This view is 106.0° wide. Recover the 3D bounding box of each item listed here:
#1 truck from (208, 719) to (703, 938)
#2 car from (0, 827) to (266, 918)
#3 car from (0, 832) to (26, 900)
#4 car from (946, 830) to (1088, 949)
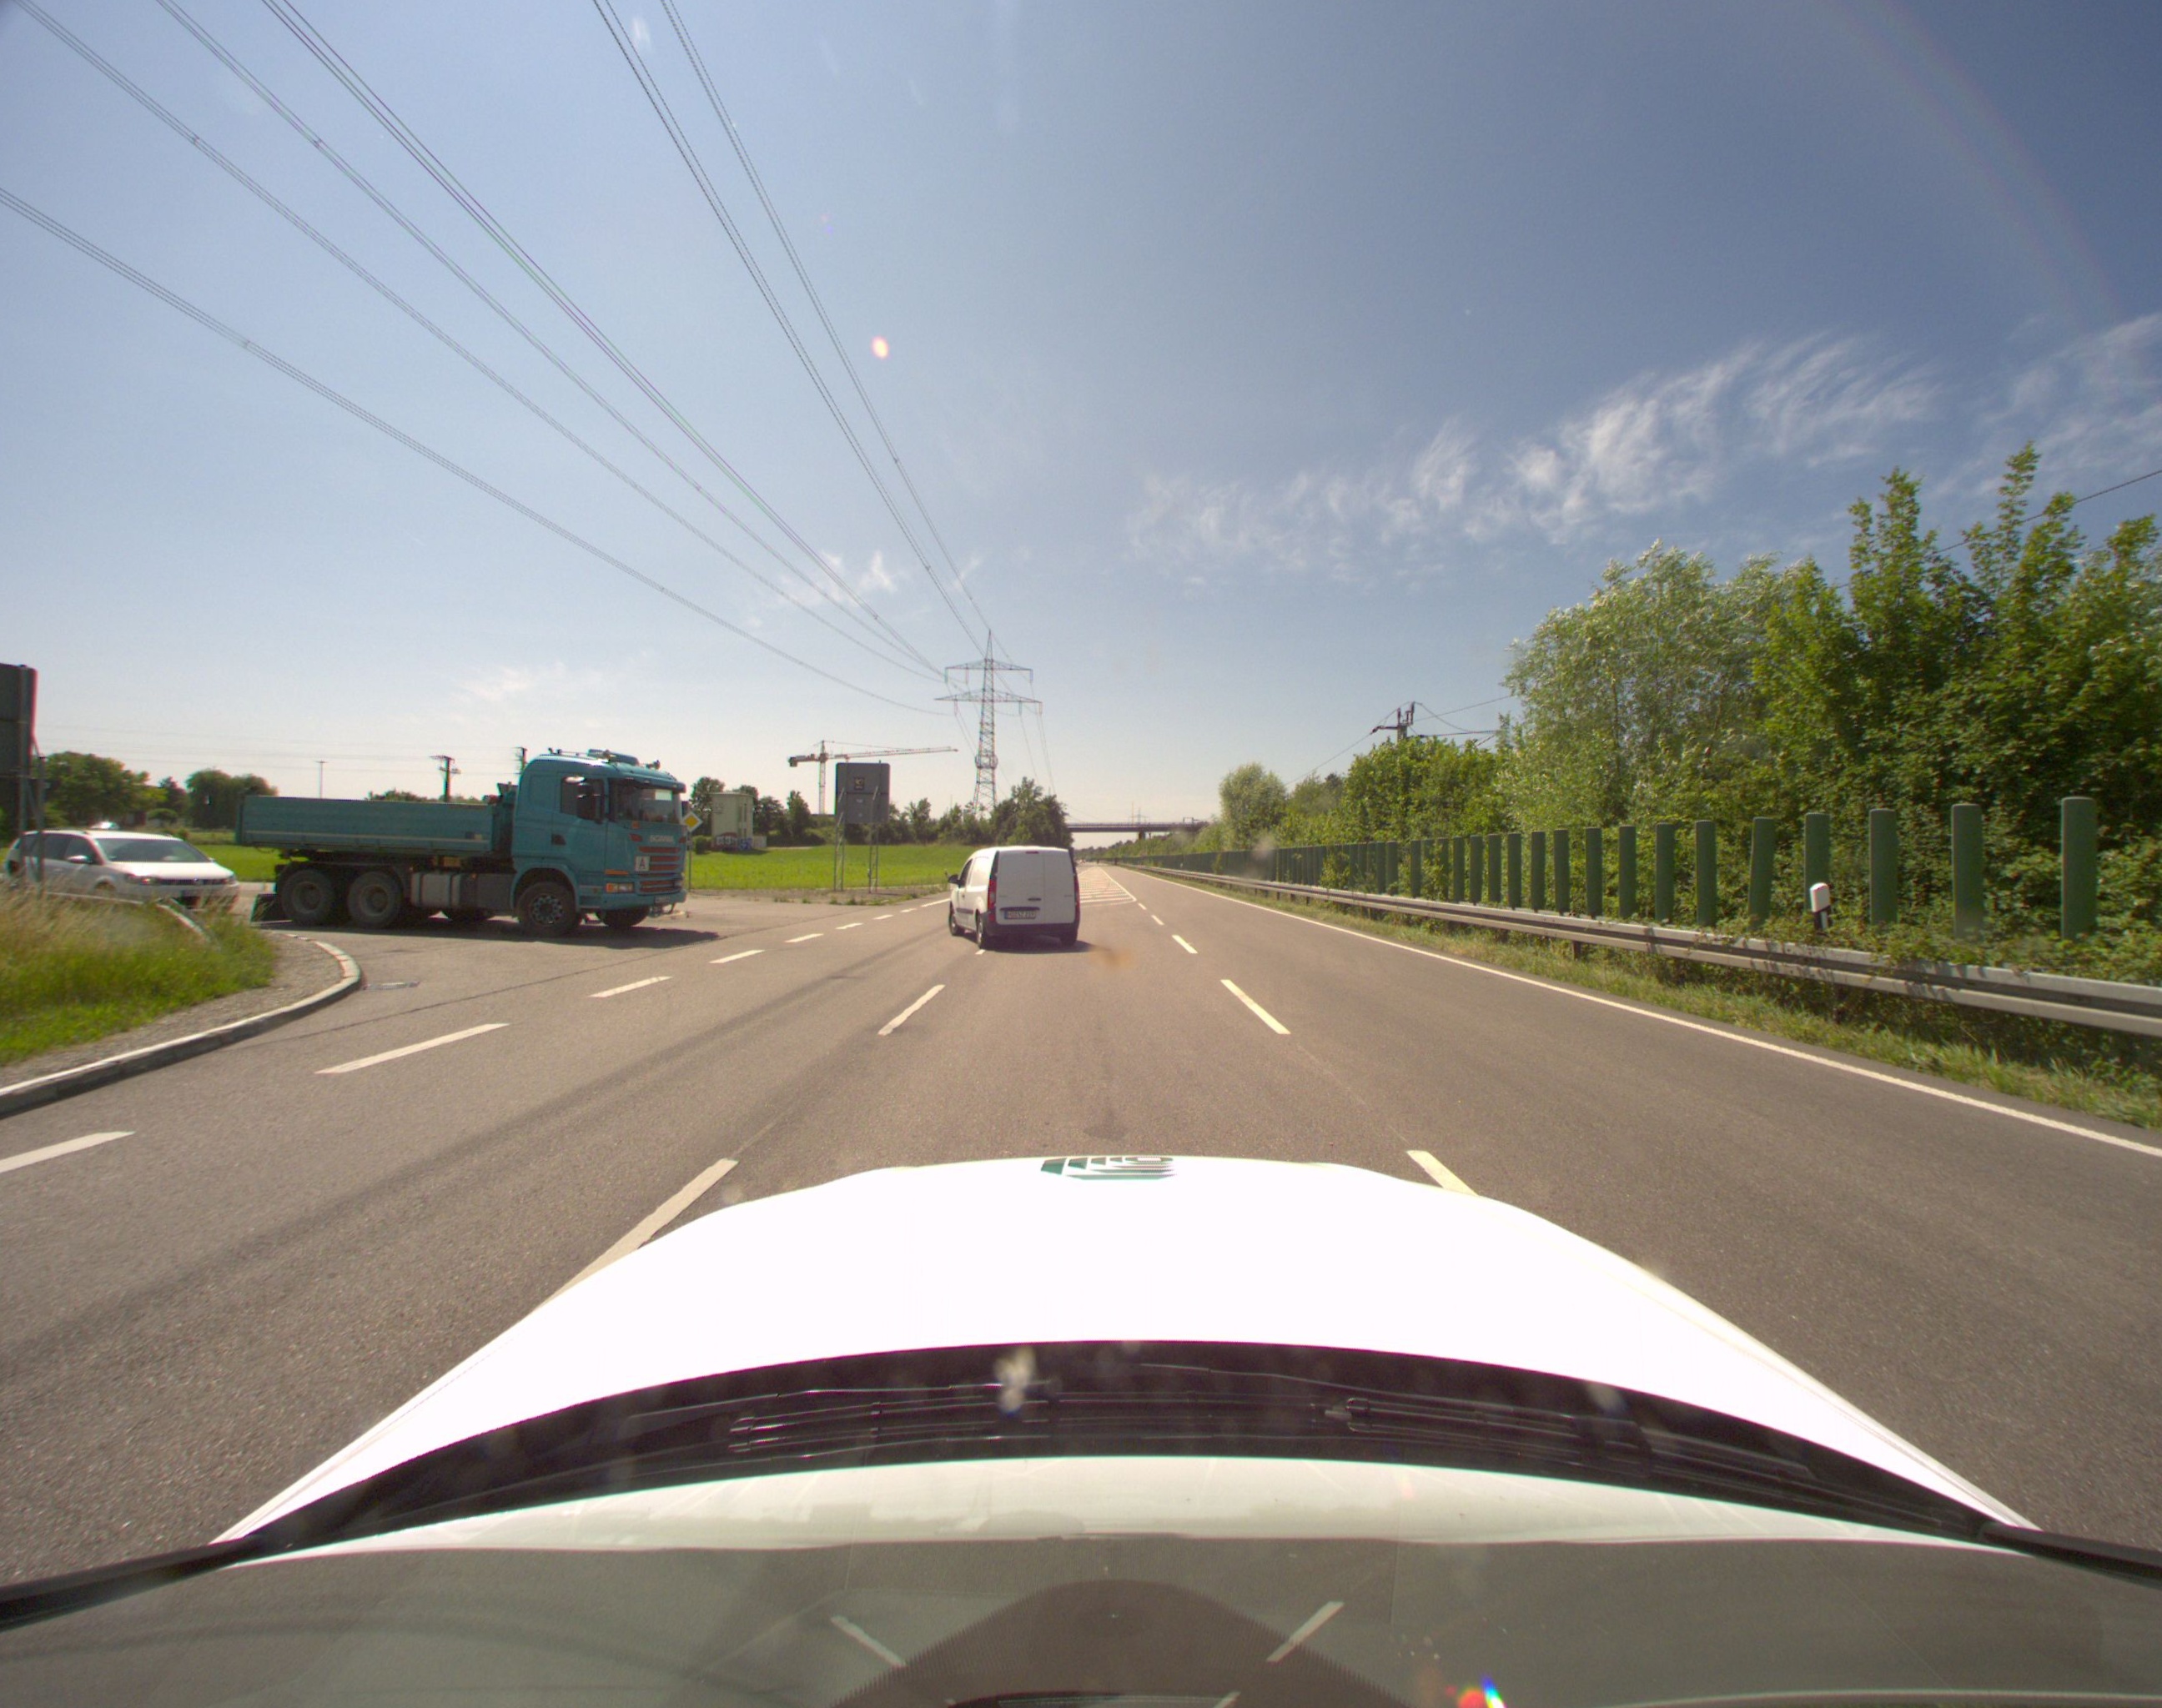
[{"bbox_3d":[-12.080,-0.483,16.151,7.871,3.734,2.500,2,-1,3],"label":"truck"},{"bbox_3d":[-19.382,0.327,16.524,4.507,1.612,1.976,1,0,15],"label":"car"},{"bbox_3d":[-25.492,0.216,17.435,4.403,1.470,1.724,1,0,11],"label":"car"},{"bbox_3d":[-1.370,0.604,15.681,1.832,1.971,3.975,0,0,-18],"label":"car"}]
